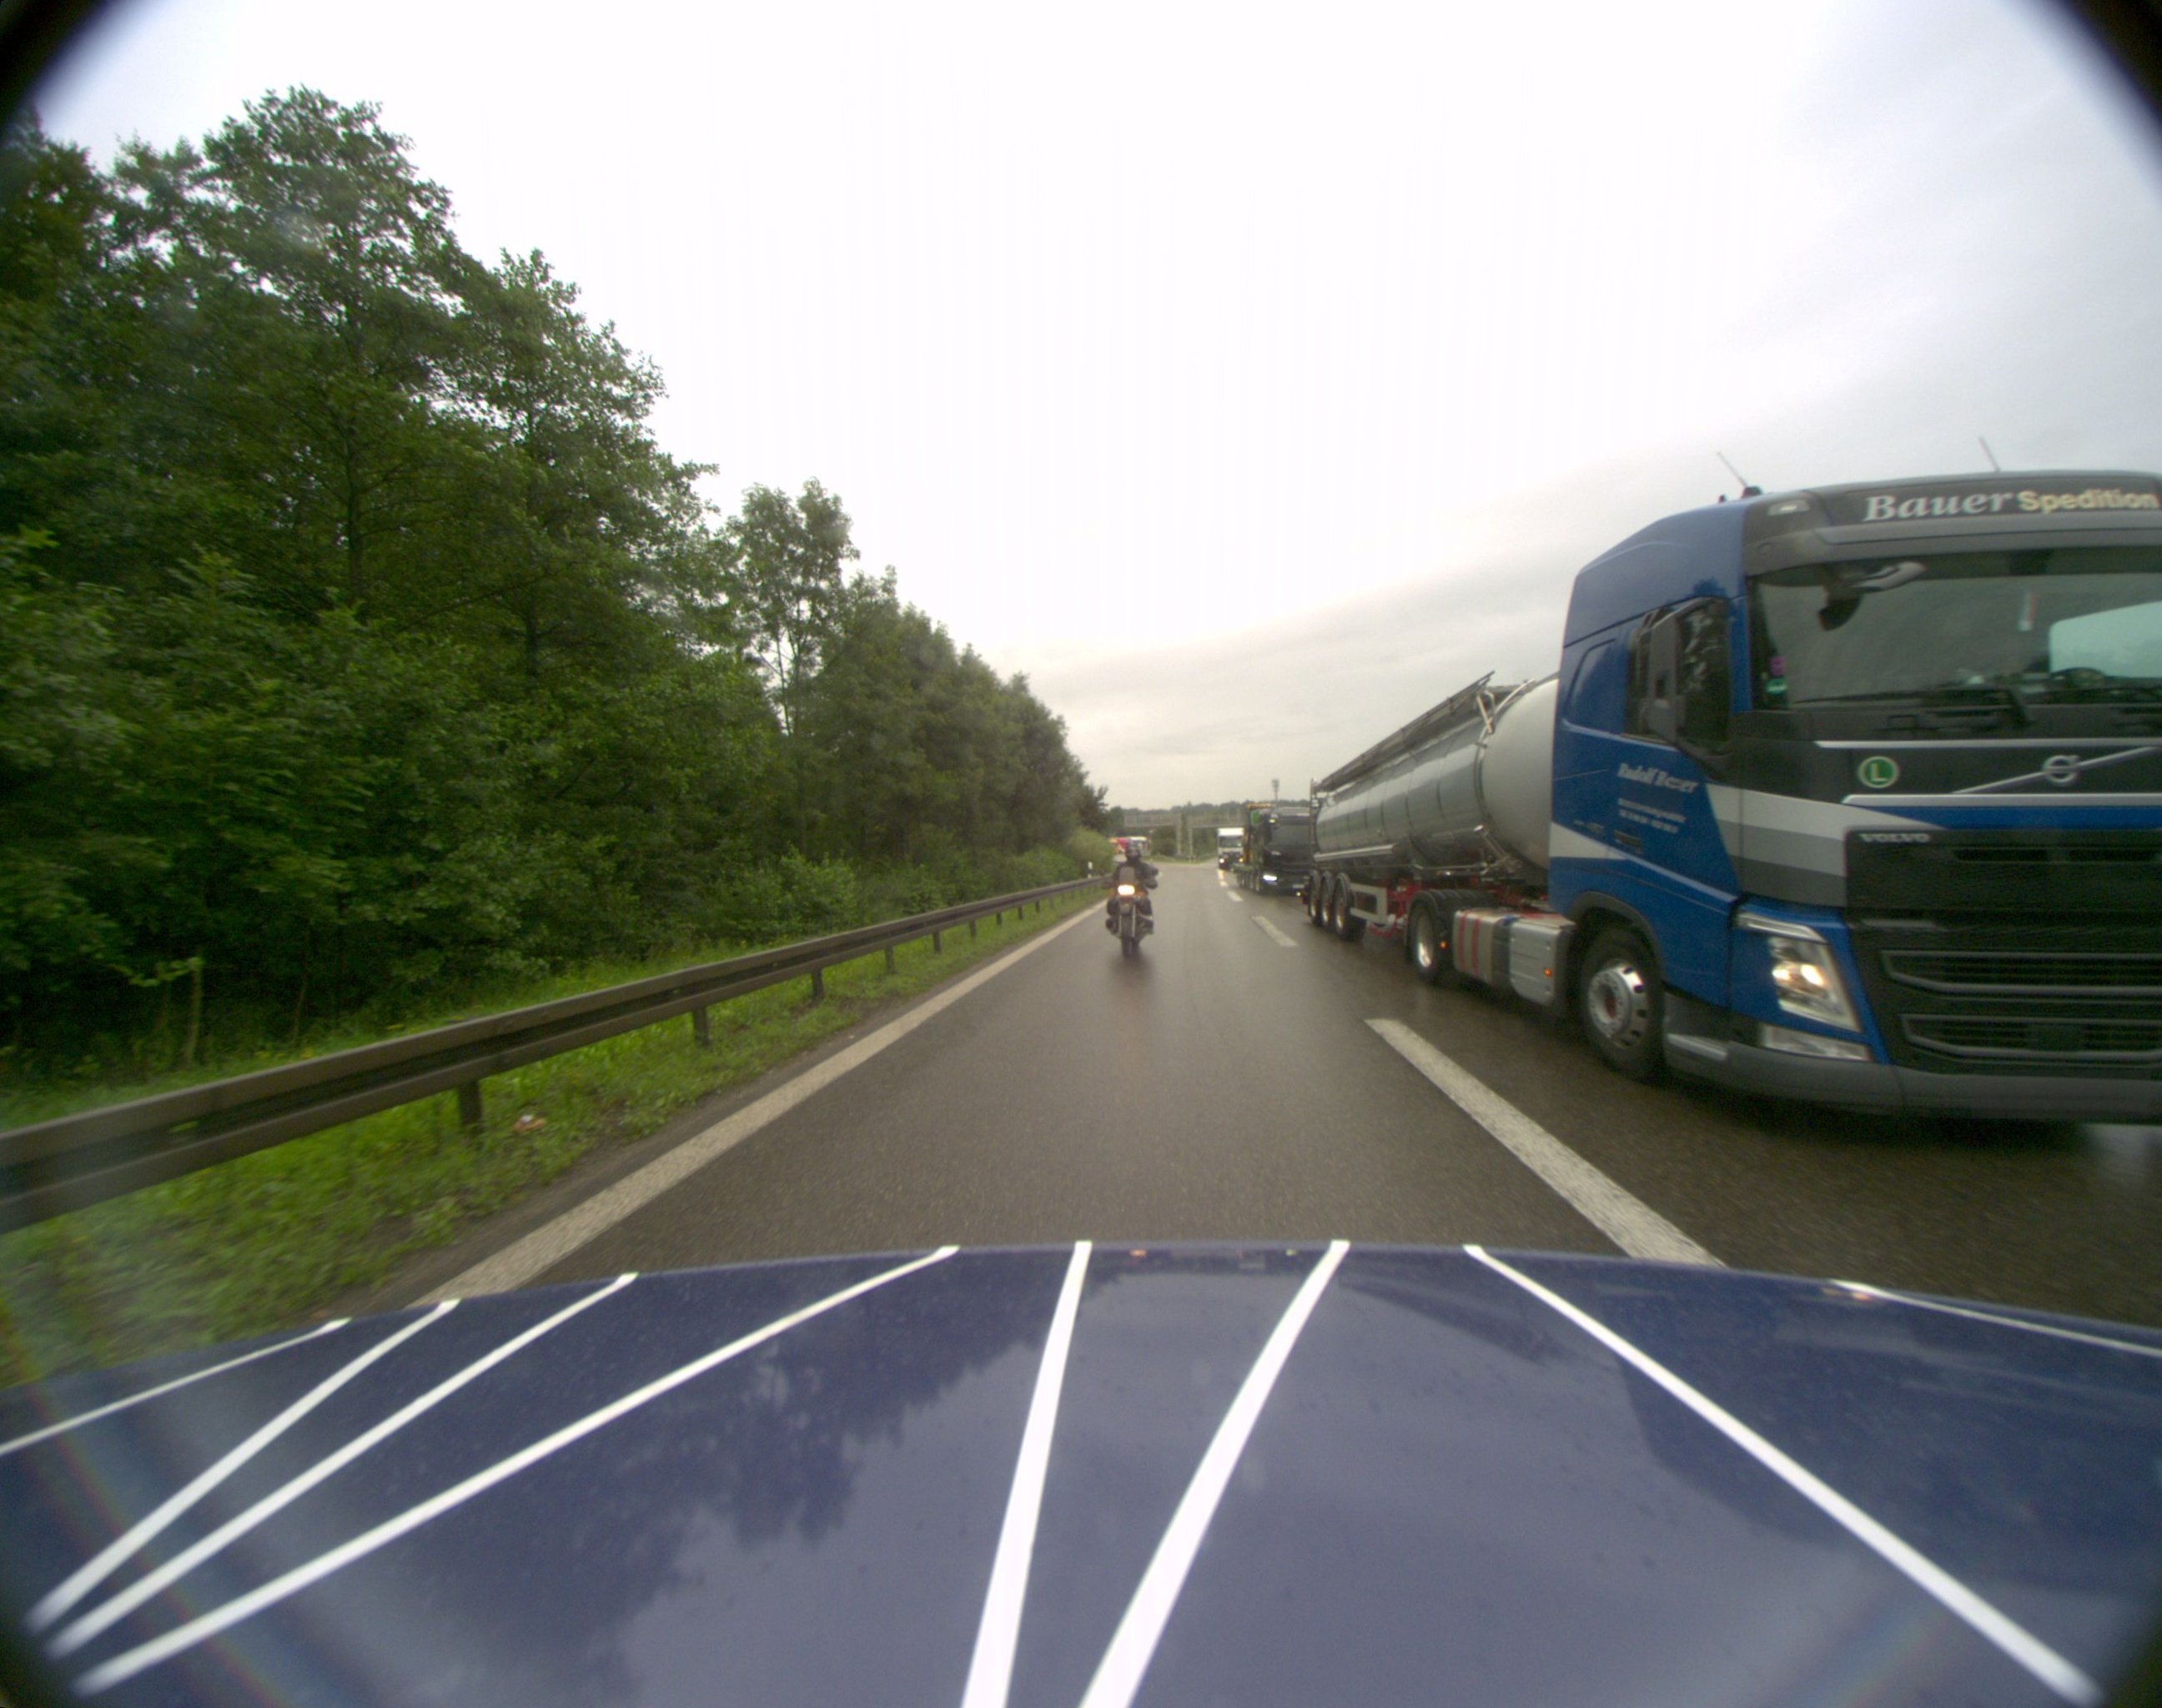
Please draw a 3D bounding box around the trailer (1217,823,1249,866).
[{"bbox_3d":[16.379,-1.079,81.200,2.923,4.181,13.646,-1,1,13],"label":"trailer"}]

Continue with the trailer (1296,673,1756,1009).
[{"bbox_3d":[5.794,-0.114,12.567,2.879,3.269,10.083,-1,0,8],"label":"trailer"}]

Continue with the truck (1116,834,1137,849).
[{"bbox_3d":[12.086,-3.282,202.377,3.251,3.897,5.008,-3,2,-34],"label":"truck"}]

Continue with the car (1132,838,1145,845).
[{"bbox_3d":[16.822,-3.703,223.271,1.851,1.848,3.990,-3,2,-32],"label":"car"}]

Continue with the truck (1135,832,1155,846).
[{"bbox_3d":[20.087,-4.674,239.522,3.251,4.362,5.798,-4,2,-34],"label":"truck"}]

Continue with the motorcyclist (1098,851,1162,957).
[{"bbox_3d":[0.800,0.744,11.980,0.877,1.559,1.374,-1,1,8],"label":"motorcyclist"}]

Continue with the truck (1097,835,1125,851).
[{"bbox_3d":[7.452,-2.750,189.353,2.844,3.897,8.110,-2,2,-30],"label":"truck"}]

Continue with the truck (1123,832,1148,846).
[{"bbox_3d":[16.453,-4.522,231.276,3.251,4.069,7.917,-3,2,-34],"label":"truck"}]

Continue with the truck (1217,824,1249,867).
[{"bbox_3d":[15.194,-0.911,75.714,2.923,4.076,6.724,-1,1,13],"label":"truck"}]

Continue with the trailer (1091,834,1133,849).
[{"bbox_3d":[8.354,-3.406,207.982,3.251,3.897,14.791,-3,2,-34],"label":"trailer"}]

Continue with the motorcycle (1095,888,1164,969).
[{"bbox_3d":[0.824,1.125,12.115,0.877,1.016,2.354,-1,1,8],"label":"motorcycle"}]

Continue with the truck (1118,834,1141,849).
[{"bbox_3d":[13.172,-3.508,207.322,2.904,3.897,6.538,-3,2,-34],"label":"truck"}]

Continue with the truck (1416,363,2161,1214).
[{"bbox_3d":[4.856,-0.278,5.807,2.882,3.672,5.059,-1,0,8],"label":"truck"}]

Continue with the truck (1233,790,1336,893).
[{"bbox_3d":[8.286,-0.493,32.442,2.836,3.568,11.803,0,1,8],"label":"truck"}]
